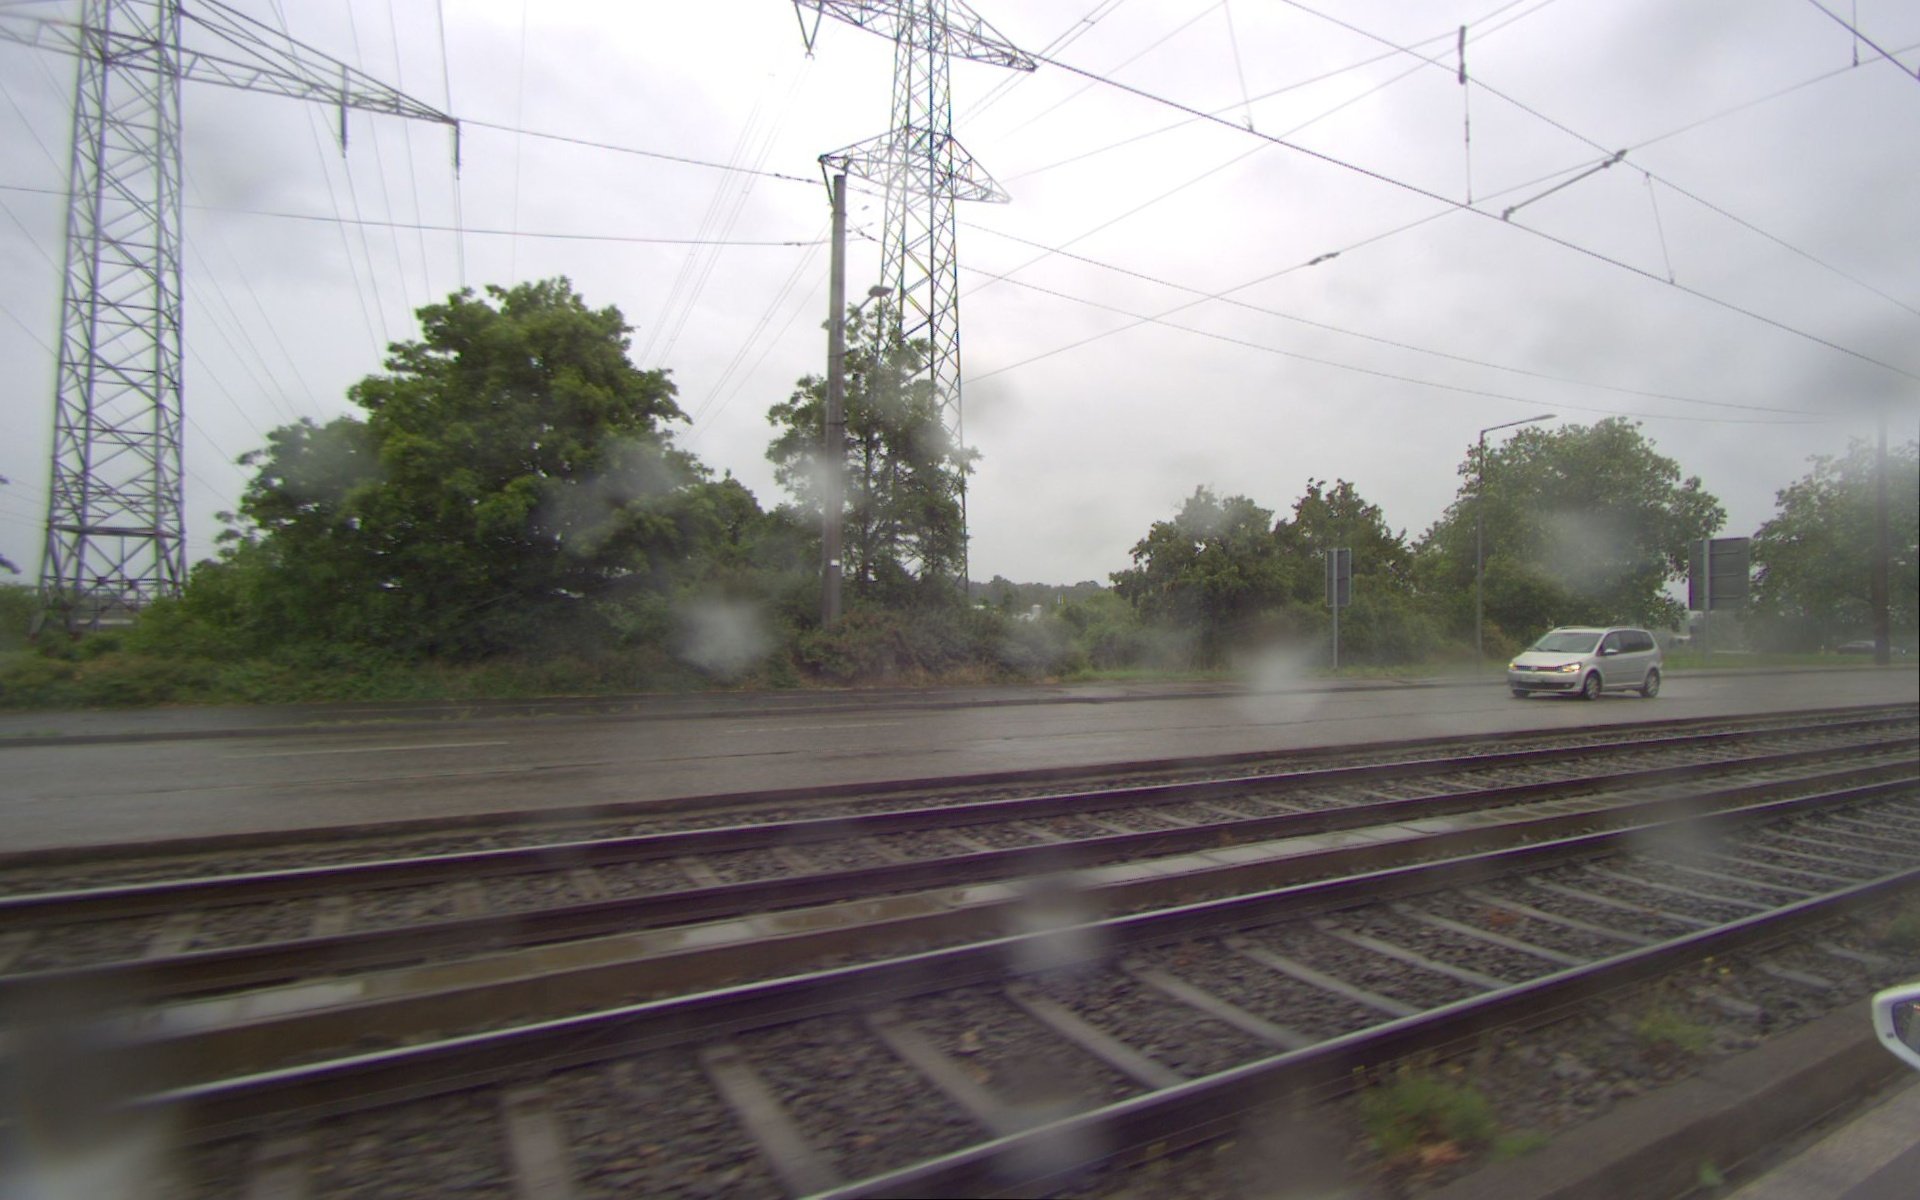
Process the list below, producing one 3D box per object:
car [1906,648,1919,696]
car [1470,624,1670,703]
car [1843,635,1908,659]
[{"bbox_3d":[32.709,2.266,32.109,5.184,1.483,1.986,1,-3,-28],"label":"car"},{"bbox_3d":[14.252,1.391,23.388,5.007,1.595,1.833,1,1,-31],"label":"car"},{"bbox_3d":[75.620,3.845,83.071,1.810,1.709,4.652,1,1,12],"label":"car"}]
